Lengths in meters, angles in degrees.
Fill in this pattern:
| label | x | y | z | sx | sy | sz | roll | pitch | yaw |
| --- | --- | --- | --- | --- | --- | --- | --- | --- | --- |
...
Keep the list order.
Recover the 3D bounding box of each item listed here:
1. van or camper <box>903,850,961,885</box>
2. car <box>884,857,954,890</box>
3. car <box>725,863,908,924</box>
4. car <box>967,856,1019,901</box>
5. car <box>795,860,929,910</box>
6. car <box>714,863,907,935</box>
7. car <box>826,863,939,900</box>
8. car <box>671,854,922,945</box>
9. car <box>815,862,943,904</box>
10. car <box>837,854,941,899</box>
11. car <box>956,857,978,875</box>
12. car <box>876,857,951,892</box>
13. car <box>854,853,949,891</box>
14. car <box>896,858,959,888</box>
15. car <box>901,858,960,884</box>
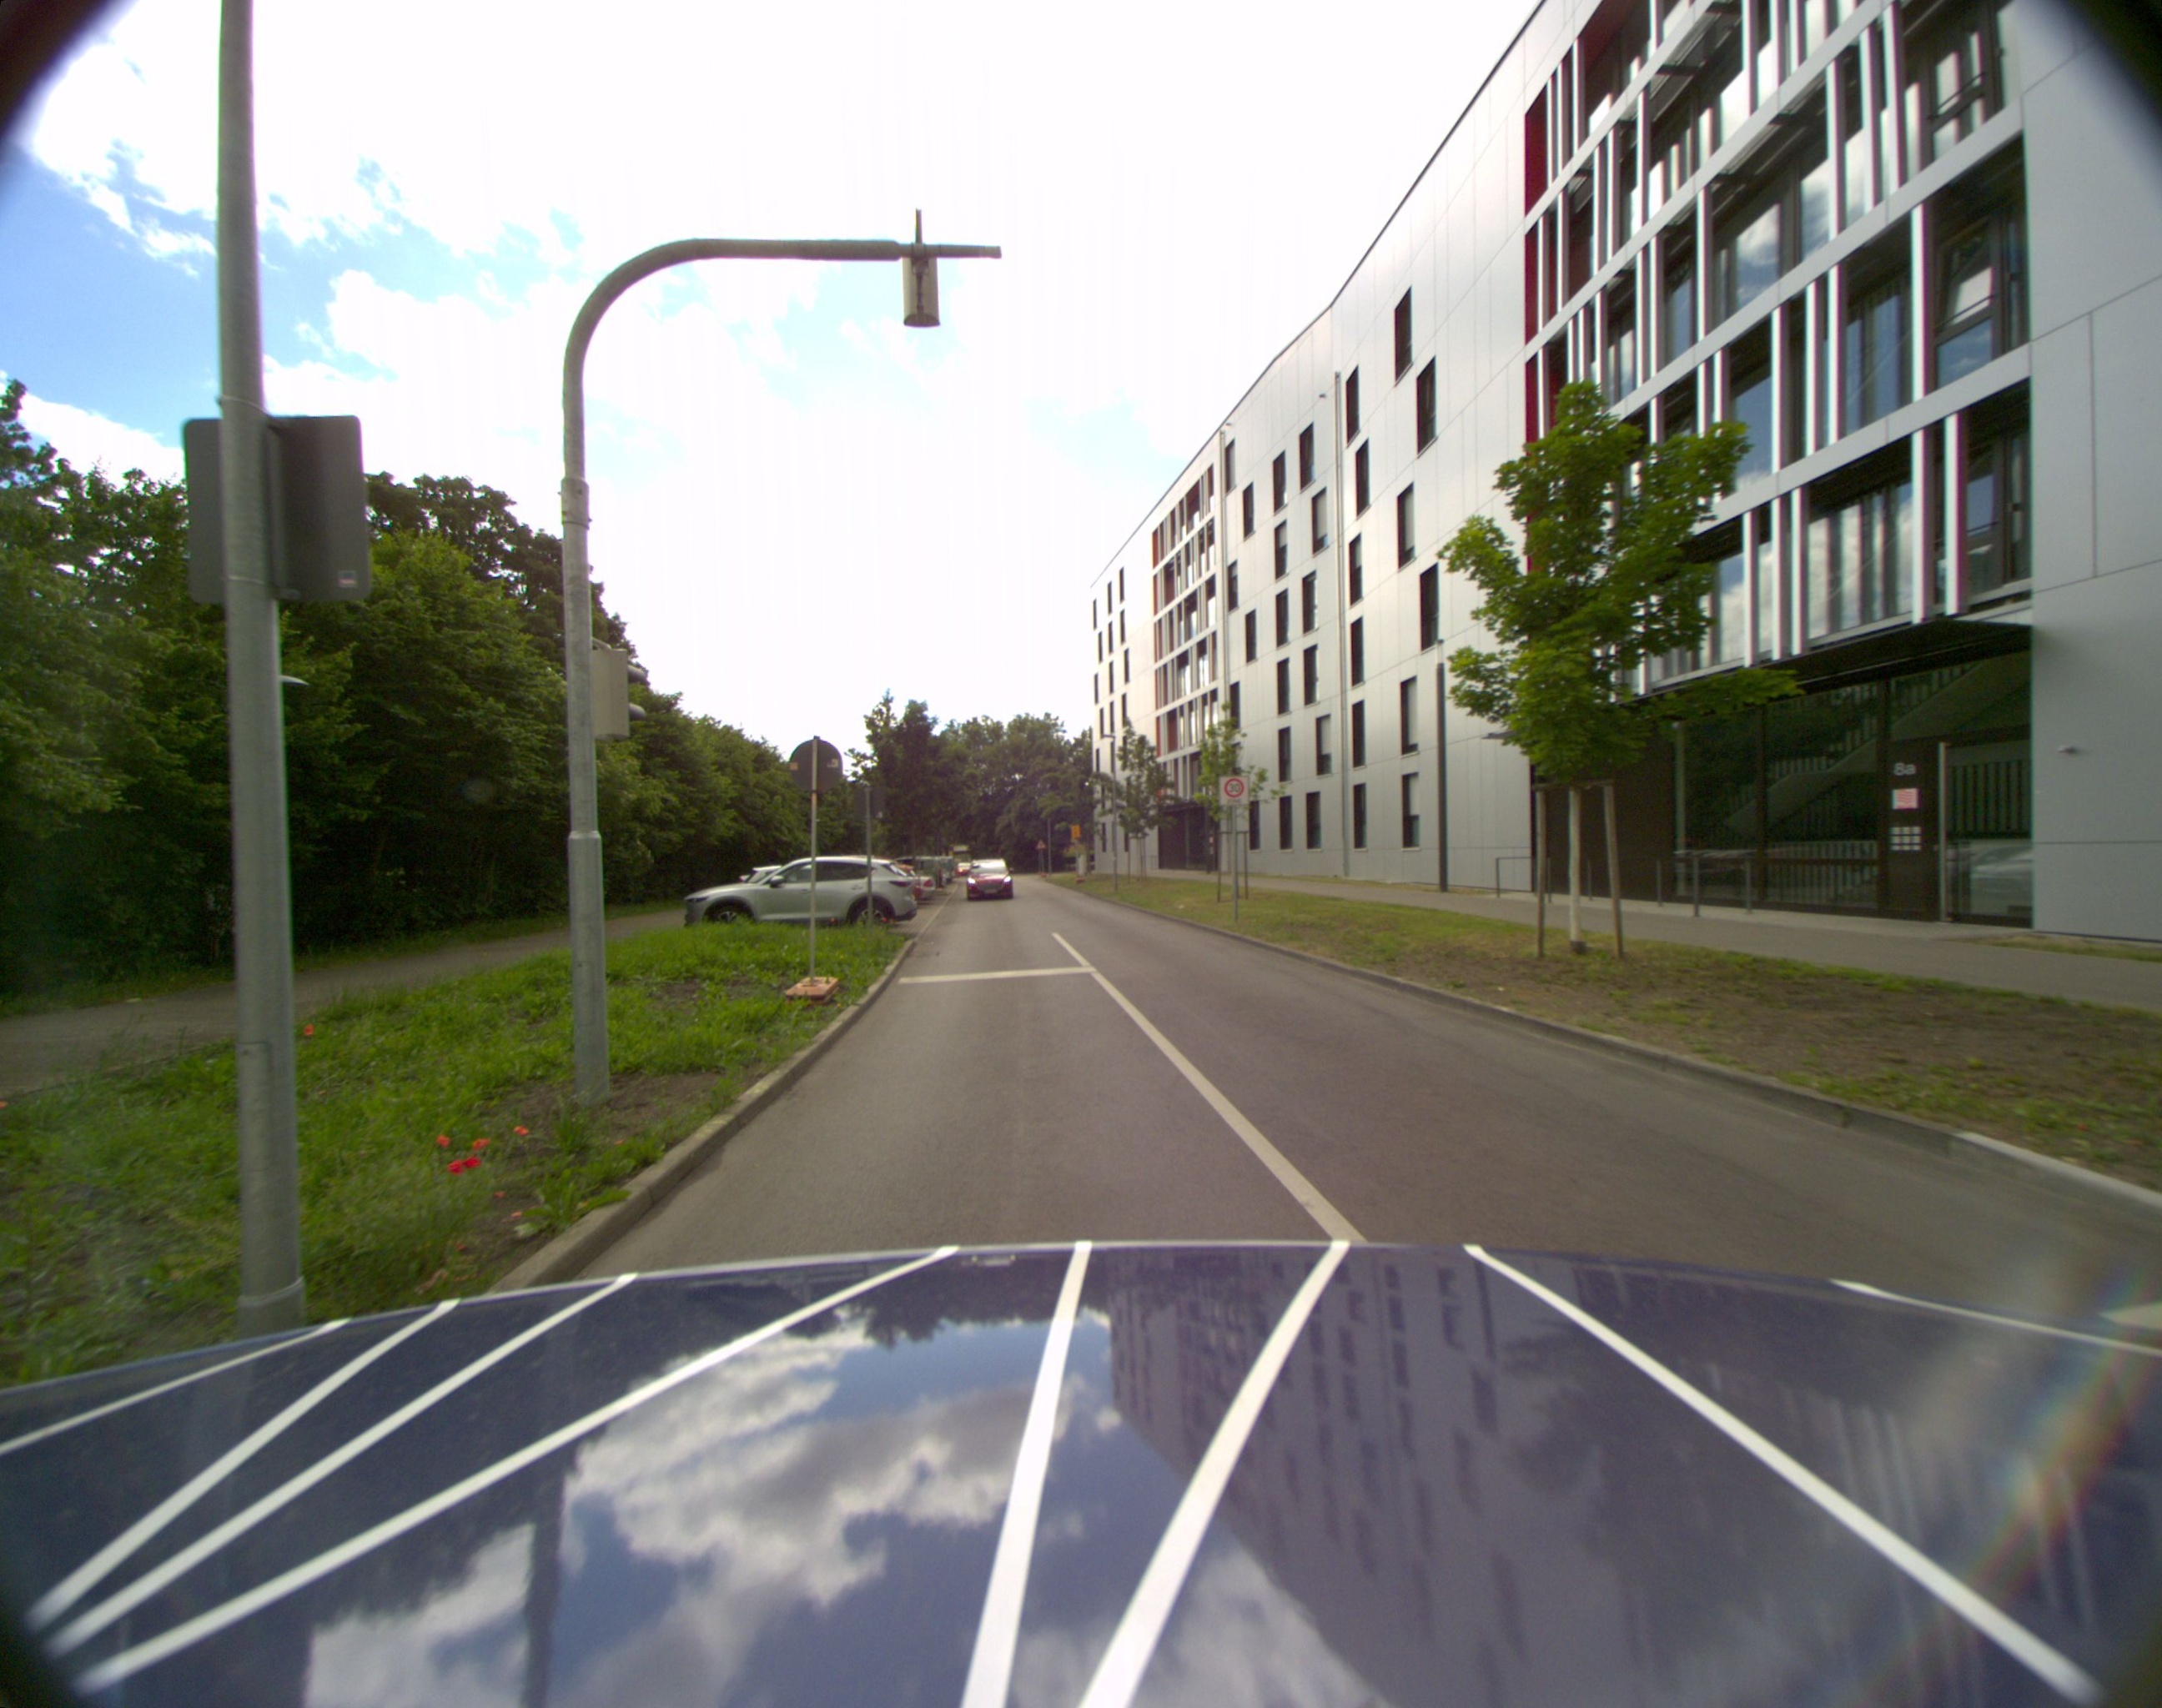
| label | x | y | z | sx | sy | sz | roll | pitch | yaw |
| --- | --- | --- | --- | --- | --- | --- | --- | --- | --- |
| van or camper | -11.001 | 0.957 | 56.200 | 3.982 | 2.306 | 1.882 | -4 | 1 | -10 |
| car | -9.821 | 1.168 | 46.256 | 3.982 | 1.722 | 1.882 | -4 | 1 | -10 |
| car | -7.101 | 1.023 | 20.854 | 4.492 | 1.553 | 1.910 | 0 | 0 | -10 |
| car | -3.752 | 0.967 | 32.134 | 1.934 | 1.622 | 4.239 | -3 | 1 | -8 |
| car | -7.376 | 1.014 | 25.914 | 4.160 | 1.582 | 1.676 | -1 | 0 | -6 |
| car | -6.443 | 1.045 | 18.548 | 4.169 | 1.577 | 1.794 | -1 | 0 | -10 |
| car | -8.018 | 1.082 | 31.083 | 4.295 | 1.401 | 1.836 | -1 | 0 | -10 |
| car | -5.735 | 0.895 | 15.985 | 4.665 | 1.742 | 2.068 | 1 | 0 | -12 |
| car | -7.422 | 1.044 | 28.323 | 4.410 | 1.427 | 1.943 | -1 | 0 | -8 |
| car | -8.358 | 0.969 | 33.450 | 4.295 | 1.881 | 1.836 | -1 | 0 | -10 |
| car | -10.924 | 1.108 | 72.794 | 1.819 | 1.608 | 3.996 | 0 | 0 | -12 |
| car | -9.534 | 1.166 | 43.582 | 3.982 | 1.722 | 1.882 | -4 | 1 | -10 |
| car | -9.077 | 0.922 | 38.796 | 4.566 | 1.888 | 1.882 | 0 | 0 | -10 |
| car | -10.319 | 1.241 | 51.391 | 3.982 | 1.722 | 1.882 | -4 | 1 | -10 |
| car | -10.626 | 1.193 | 53.929 | 3.982 | 1.594 | 2.103 | -2 | 3 | -10 |
